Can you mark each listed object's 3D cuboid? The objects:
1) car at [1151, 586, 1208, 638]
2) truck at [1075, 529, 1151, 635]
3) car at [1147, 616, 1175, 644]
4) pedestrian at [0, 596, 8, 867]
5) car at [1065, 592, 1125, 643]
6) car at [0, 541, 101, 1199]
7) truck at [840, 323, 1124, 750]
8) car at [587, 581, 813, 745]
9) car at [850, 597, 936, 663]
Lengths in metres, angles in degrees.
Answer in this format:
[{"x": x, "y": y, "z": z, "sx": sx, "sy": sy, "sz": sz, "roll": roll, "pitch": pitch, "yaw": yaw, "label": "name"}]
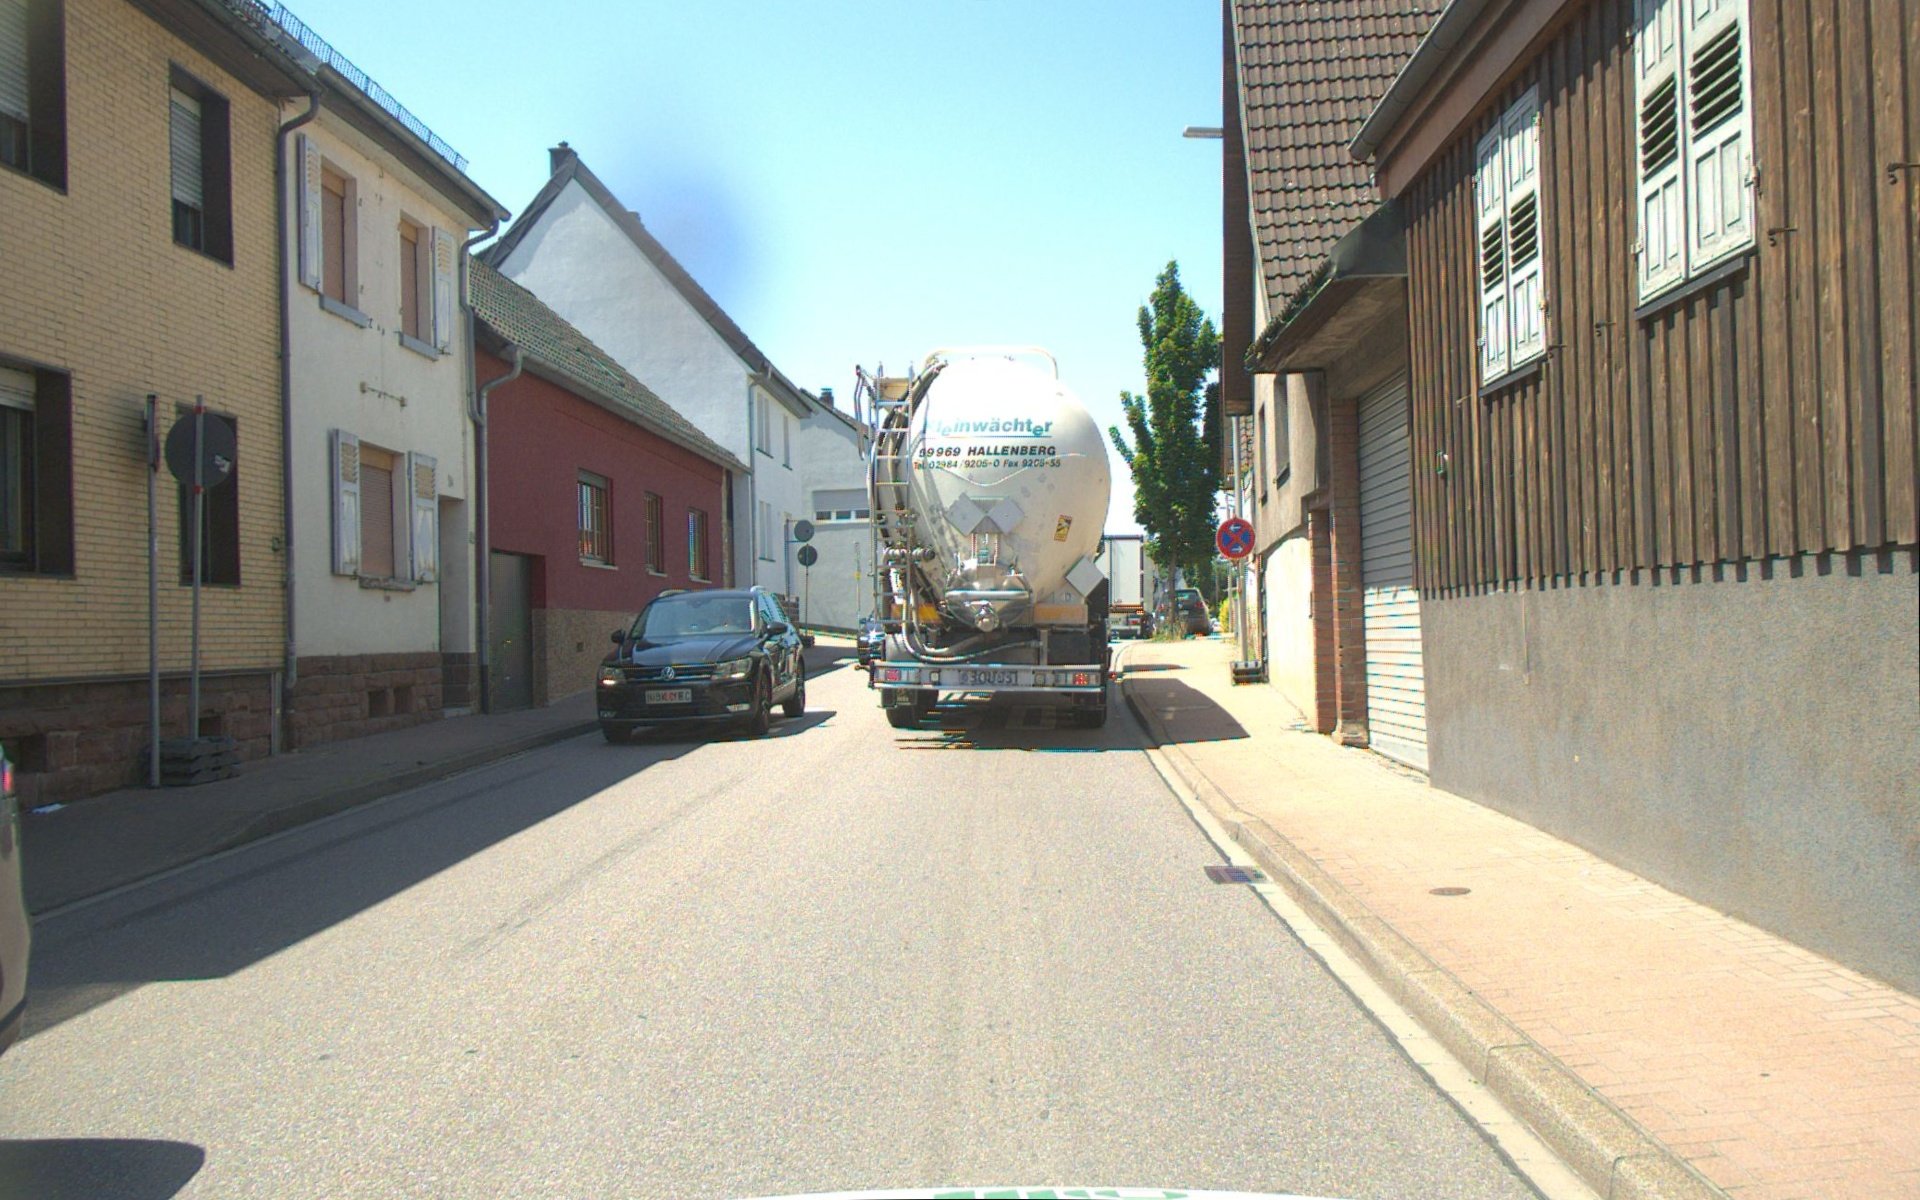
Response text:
[{"x": 7.579, "y": 0.415, "z": 56.829, "sx": 1.764, "sy": 1.642, "sz": 4.552, "roll": -3, "pitch": -1, "yaw": 9, "label": "car"}, {"x": 6.541, "y": -0.719, "z": 69.520, "sx": 2.900, "sy": 4.141, "sz": 9.290, "roll": 0, "pitch": 0, "yaw": 7, "label": "truck"}, {"x": 14.802, "y": 2.218, "z": 121.776, "sx": 1.905, "sy": 2.005, "sz": 4.788, "roll": -2, "pitch": -2, "yaw": 7, "label": "car"}, {"x": -5.963, "y": 0.771, "z": 9.391, "sx": 0.648, "sy": 1.591, "sz": 0.755, "roll": 1, "pitch": 0, "yaw": 2, "label": "pedestrian"}, {"x": 4.379, "y": 0.607, "z": 53.286, "sx": 1.664, "sy": 1.472, "sz": 4.839, "roll": -4, "pitch": -2, "yaw": 7, "label": "car"}, {"x": -3.288, "y": 0.698, "z": 2.421, "sx": 1.792, "sy": 1.650, "sz": 4.260, "roll": -1, "pitch": 0, "yaw": 0, "label": "car"}, {"x": 0.509, "y": -0.620, "z": 19.737, "sx": 2.675, "sy": 4.029, "sz": 8.146, "roll": 0, "pitch": 0, "yaw": 4, "label": "truck"}, {"x": -2.904, "y": 0.660, "z": 19.420, "sx": 1.774, "sy": 1.637, "sz": 4.338, "roll": -2, "pitch": 0, "yaw": 2, "label": "car"}, {"x": -1.548, "y": 0.687, "z": 39.595, "sx": 1.659, "sy": 1.434, "sz": 4.201, "roll": -2, "pitch": 0, "yaw": 3, "label": "car"}]
